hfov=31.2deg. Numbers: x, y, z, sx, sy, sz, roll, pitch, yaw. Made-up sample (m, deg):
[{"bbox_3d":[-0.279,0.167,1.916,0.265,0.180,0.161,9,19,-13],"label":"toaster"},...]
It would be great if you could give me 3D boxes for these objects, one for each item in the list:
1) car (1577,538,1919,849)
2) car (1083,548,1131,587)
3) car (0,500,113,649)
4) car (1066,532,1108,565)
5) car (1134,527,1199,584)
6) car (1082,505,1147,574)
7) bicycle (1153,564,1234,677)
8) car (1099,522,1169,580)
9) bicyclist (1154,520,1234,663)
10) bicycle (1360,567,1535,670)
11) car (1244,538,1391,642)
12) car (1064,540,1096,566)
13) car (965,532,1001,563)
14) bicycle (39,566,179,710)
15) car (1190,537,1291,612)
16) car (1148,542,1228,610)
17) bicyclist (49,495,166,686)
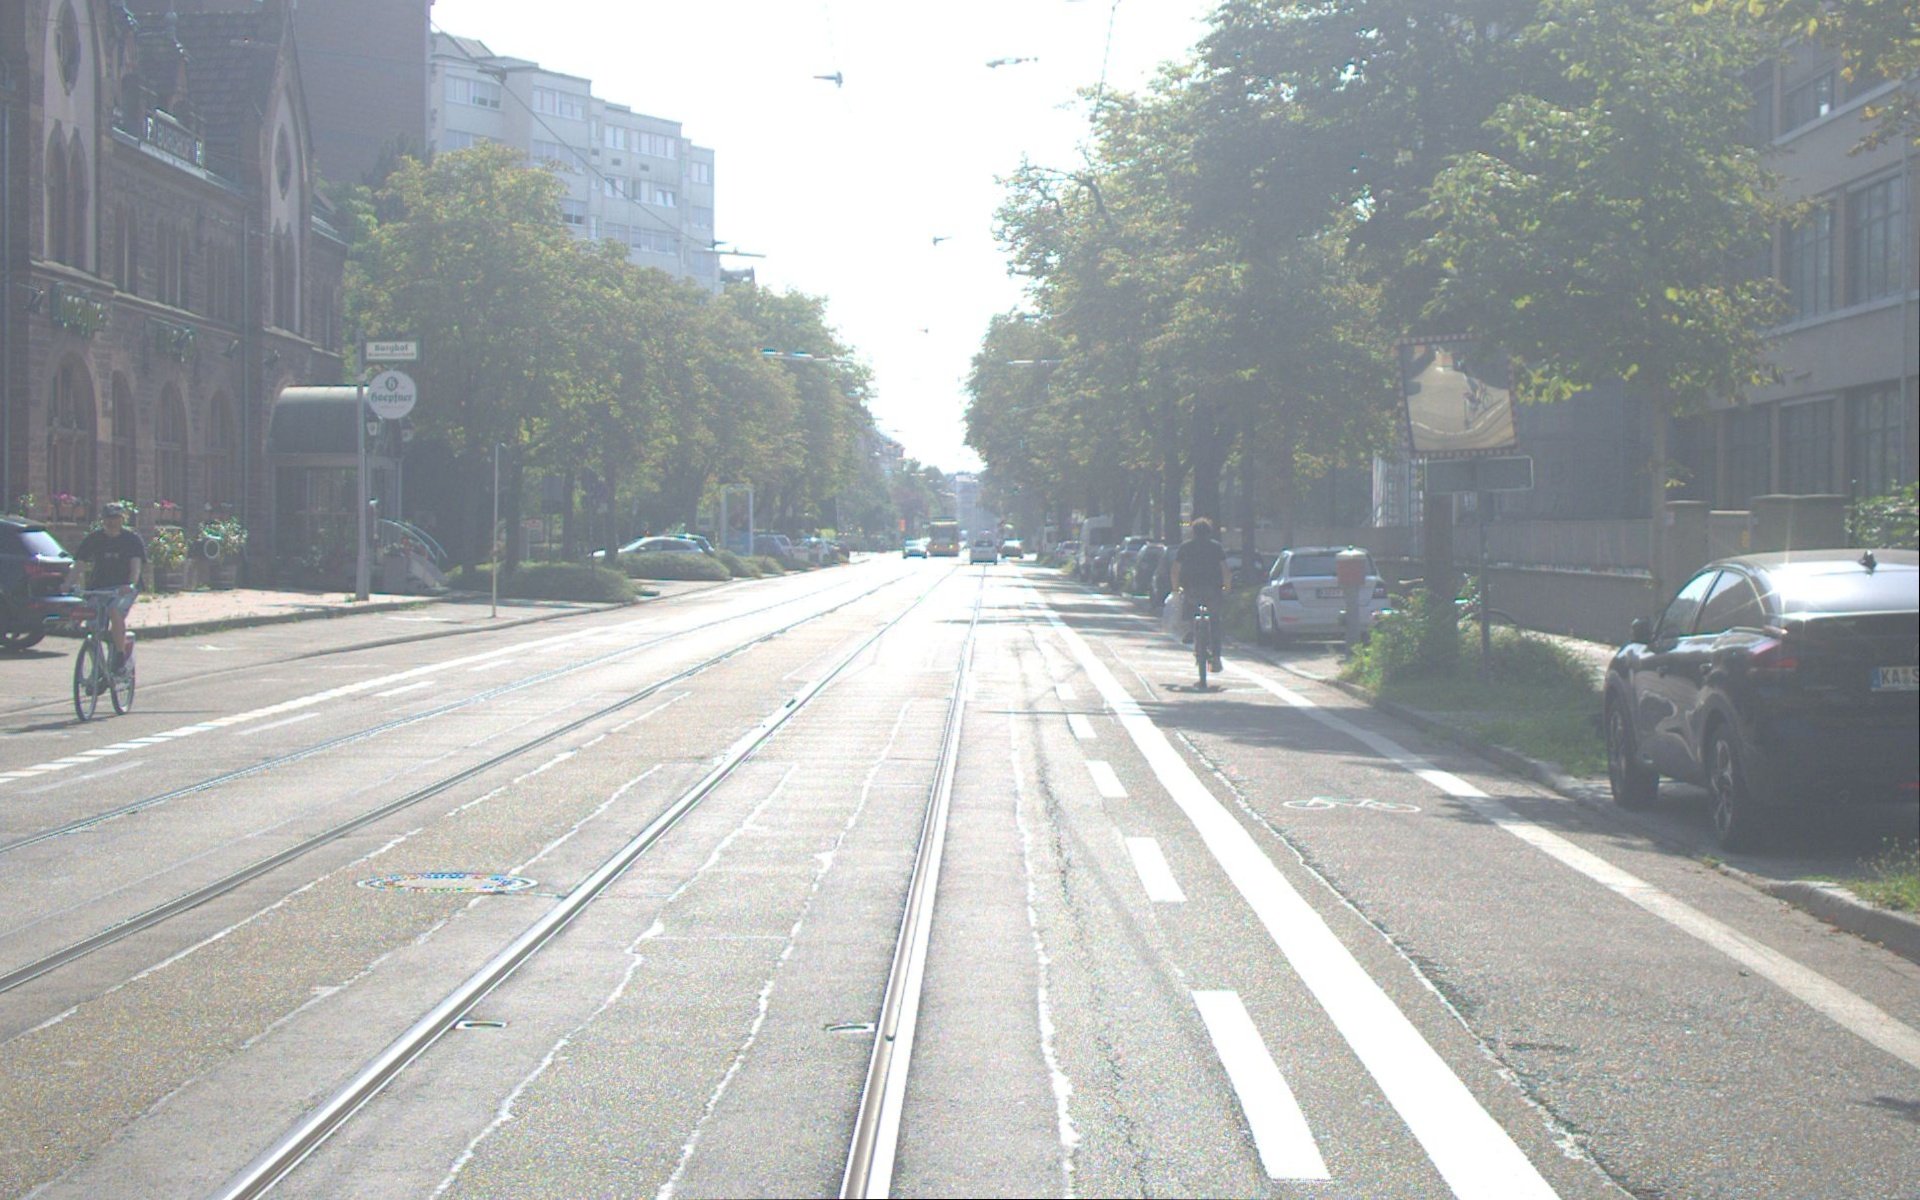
[{"bbox_3d":[4.774,0.425,19.330,1.741,1.481,4.438,-1,2,-1],"label":"car"},{"bbox_3d":[5.298,-1.187,124.111,1.616,1.369,4.827,0,1,1],"label":"car"},{"bbox_3d":[-12.462,-0.431,40.549,4.396,1.640,1.957,4,1,-2],"label":"car"},{"bbox_3d":[5.647,-2.297,153.450,1.753,1.373,4.719,-1,1,1],"label":"car"},{"bbox_3d":[5.539,-1.211,92.435,1.576,1.479,3.738,-1,1,1],"label":"car"},{"bbox_3d":[6.021,-2.374,134.588,2.082,2.544,5.502,-3,1,-1],"label":"car"},{"bbox_3d":[2.451,0.201,36.356,0.787,1.140,2.305,0,1,2],"label":"bicycle"},{"bbox_3d":[5.191,-1.491,103.167,1.753,1.685,4.397,1,1,-1],"label":"car"},{"bbox_3d":[2.442,-0.096,35.955,0.787,1.465,1.116,0,1,2],"label":"bicyclist"},{"bbox_3d":[5.304,0.194,37.483,1.768,1.060,0.796,-1,1,-1],"label":"bicycle"},{"bbox_3d":[5.145,-0.166,49.865,1.640,1.425,3.989,-1,1,-1],"label":"car"},{"bbox_3d":[6.509,-2.546,186.974,1.690,1.413,3.634,0,1,1],"label":"car"},{"bbox_3d":[1.368,-3.089,202.274,1.993,1.831,4.000,0,1,2],"label":"car"},{"bbox_3d":[-7.219,0.300,29.250,0.697,1.154,2.038,-2,1,-2],"label":"bicycle"},{"bbox_3d":[5.553,-0.526,68.500,1.646,1.423,4.085,0,1,0],"label":"car"},{"bbox_3d":[5.295,-0.583,80.129,1.646,1.506,3.778,-1,1,1],"label":"car"},{"bbox_3d":[-7.244,-0.087,29.254,0.697,1.575,1.087,-2,1,-2],"label":"bicyclist"}]
